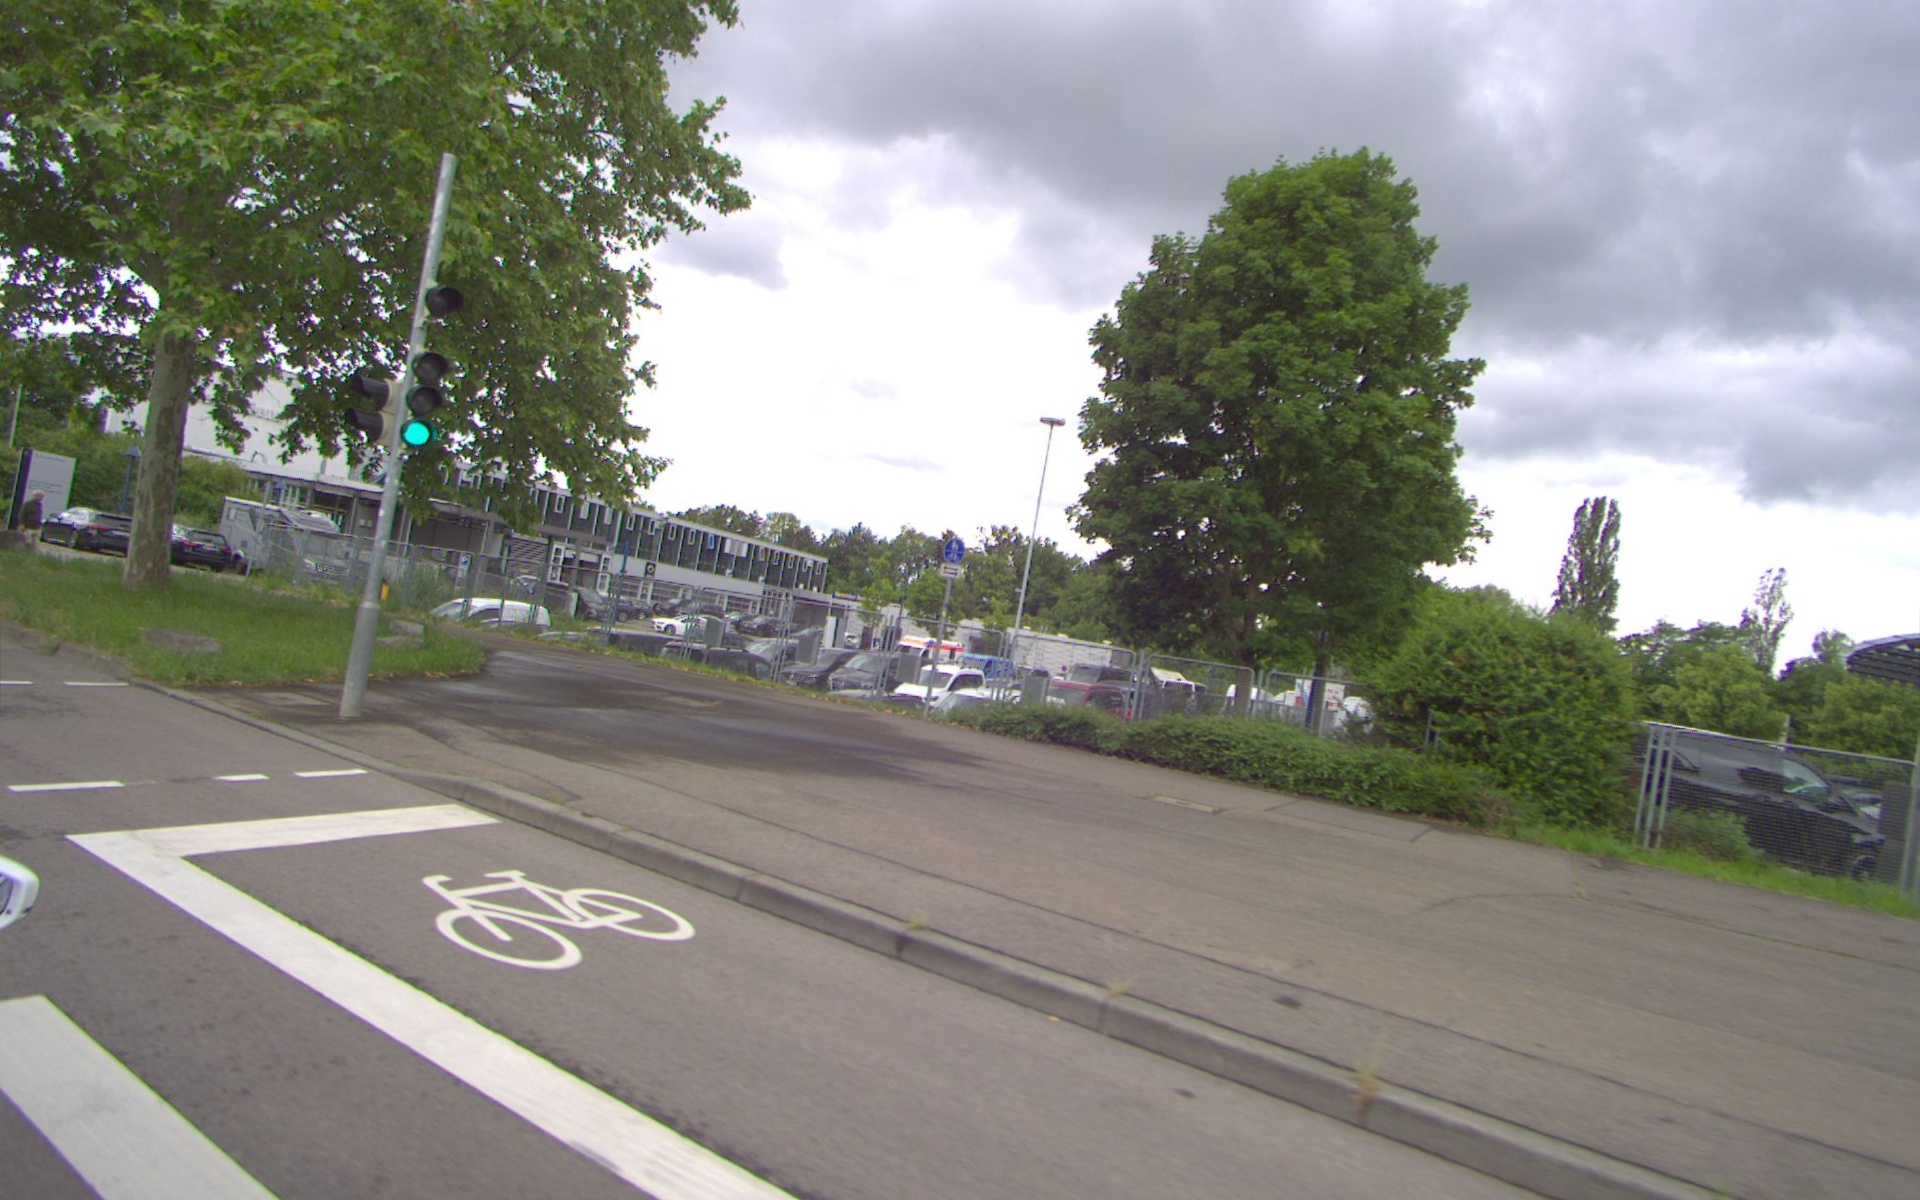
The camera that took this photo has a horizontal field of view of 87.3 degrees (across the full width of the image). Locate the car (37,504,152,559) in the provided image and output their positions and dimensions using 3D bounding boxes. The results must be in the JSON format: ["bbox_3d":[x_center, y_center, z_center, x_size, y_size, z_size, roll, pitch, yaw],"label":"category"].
[{"bbox_3d":[-29.891,-2.376,34.708,4.272,1.369,1.714,7,-2,32],"label":"car"}]

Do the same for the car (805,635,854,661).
[{"bbox_3d":[-10.138,3.784,78.536,1.598,1.545,3.644,7,-3,36],"label":"car"}]

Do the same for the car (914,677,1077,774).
[{"bbox_3d":[0.898,2.728,22.139,1.965,1.636,4.001,7,-3,26],"label":"car"}]

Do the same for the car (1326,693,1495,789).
[{"bbox_3d":[11.429,3.545,25.735,3.528,1.776,1.629,8,-2,14],"label":"car"}]

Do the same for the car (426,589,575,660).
[{"bbox_3d":[-13.770,0.792,30.363,1.661,1.636,3.747,7,-3,26],"label":"car"}]

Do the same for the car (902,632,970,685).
[{"bbox_3d":[-1.340,3.386,57.552,1.705,2.596,4.112,7,-3,31],"label":"car"}]

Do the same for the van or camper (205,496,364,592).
[{"bbox_3d":[-26.283,-2.222,39.055,6.800,2.901,1.970,7,-1,29],"label":"van or camper"}]

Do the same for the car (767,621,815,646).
[{"bbox_3d":[-13.752,2.725,81.969,1.598,1.545,3.645,7,-3,36],"label":"car"}]

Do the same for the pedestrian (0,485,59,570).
[{"bbox_3d":[-21.732,-1.672,23.403,0.740,1.822,0.857,8,-1,-24],"label":"pedestrian"}]

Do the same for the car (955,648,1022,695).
[{"bbox_3d":[1.588,3.930,54.690,1.705,2.136,3.997,7,-3,31],"label":"car"}]

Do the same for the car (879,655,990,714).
[{"bbox_3d":[-0.784,2.902,34.060,1.965,1.569,4.001,7,-3,26],"label":"car"}]

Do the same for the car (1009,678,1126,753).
[{"bbox_3d":[3.426,3.640,31.521,1.967,1.902,3.997,7,-3,31],"label":"car"}]

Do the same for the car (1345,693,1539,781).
[{"bbox_3d":[10.997,3.104,23.097,3.531,1.364,1.627,8,-2,-1],"label":"car"}]

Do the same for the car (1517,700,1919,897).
[{"bbox_3d":[11.524,2.946,15.401,4.711,2.048,2.001,8,-2,-3],"label":"car"}]

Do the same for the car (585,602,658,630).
[{"bbox_3d":[-18.306,0.869,54.480,1.389,0.989,3.650,7,-3,30],"label":"car"}]

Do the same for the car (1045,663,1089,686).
[{"bbox_3d":[10.174,7.110,95.687,3.589,1.590,1.622,7,-2,30],"label":"car"}]

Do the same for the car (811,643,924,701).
[{"bbox_3d":[-3.134,2.535,34.839,1.965,1.569,4.001,7,-3,26],"label":"car"}]

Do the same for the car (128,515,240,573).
[{"bbox_3d":[-28.662,-2.090,37.130,4.272,1.524,1.716,7,-4,32],"label":"car"}]

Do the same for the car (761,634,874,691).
[{"bbox_3d":[-5.063,2.296,36.322,1.965,1.569,4.001,7,-3,26],"label":"car"}]
